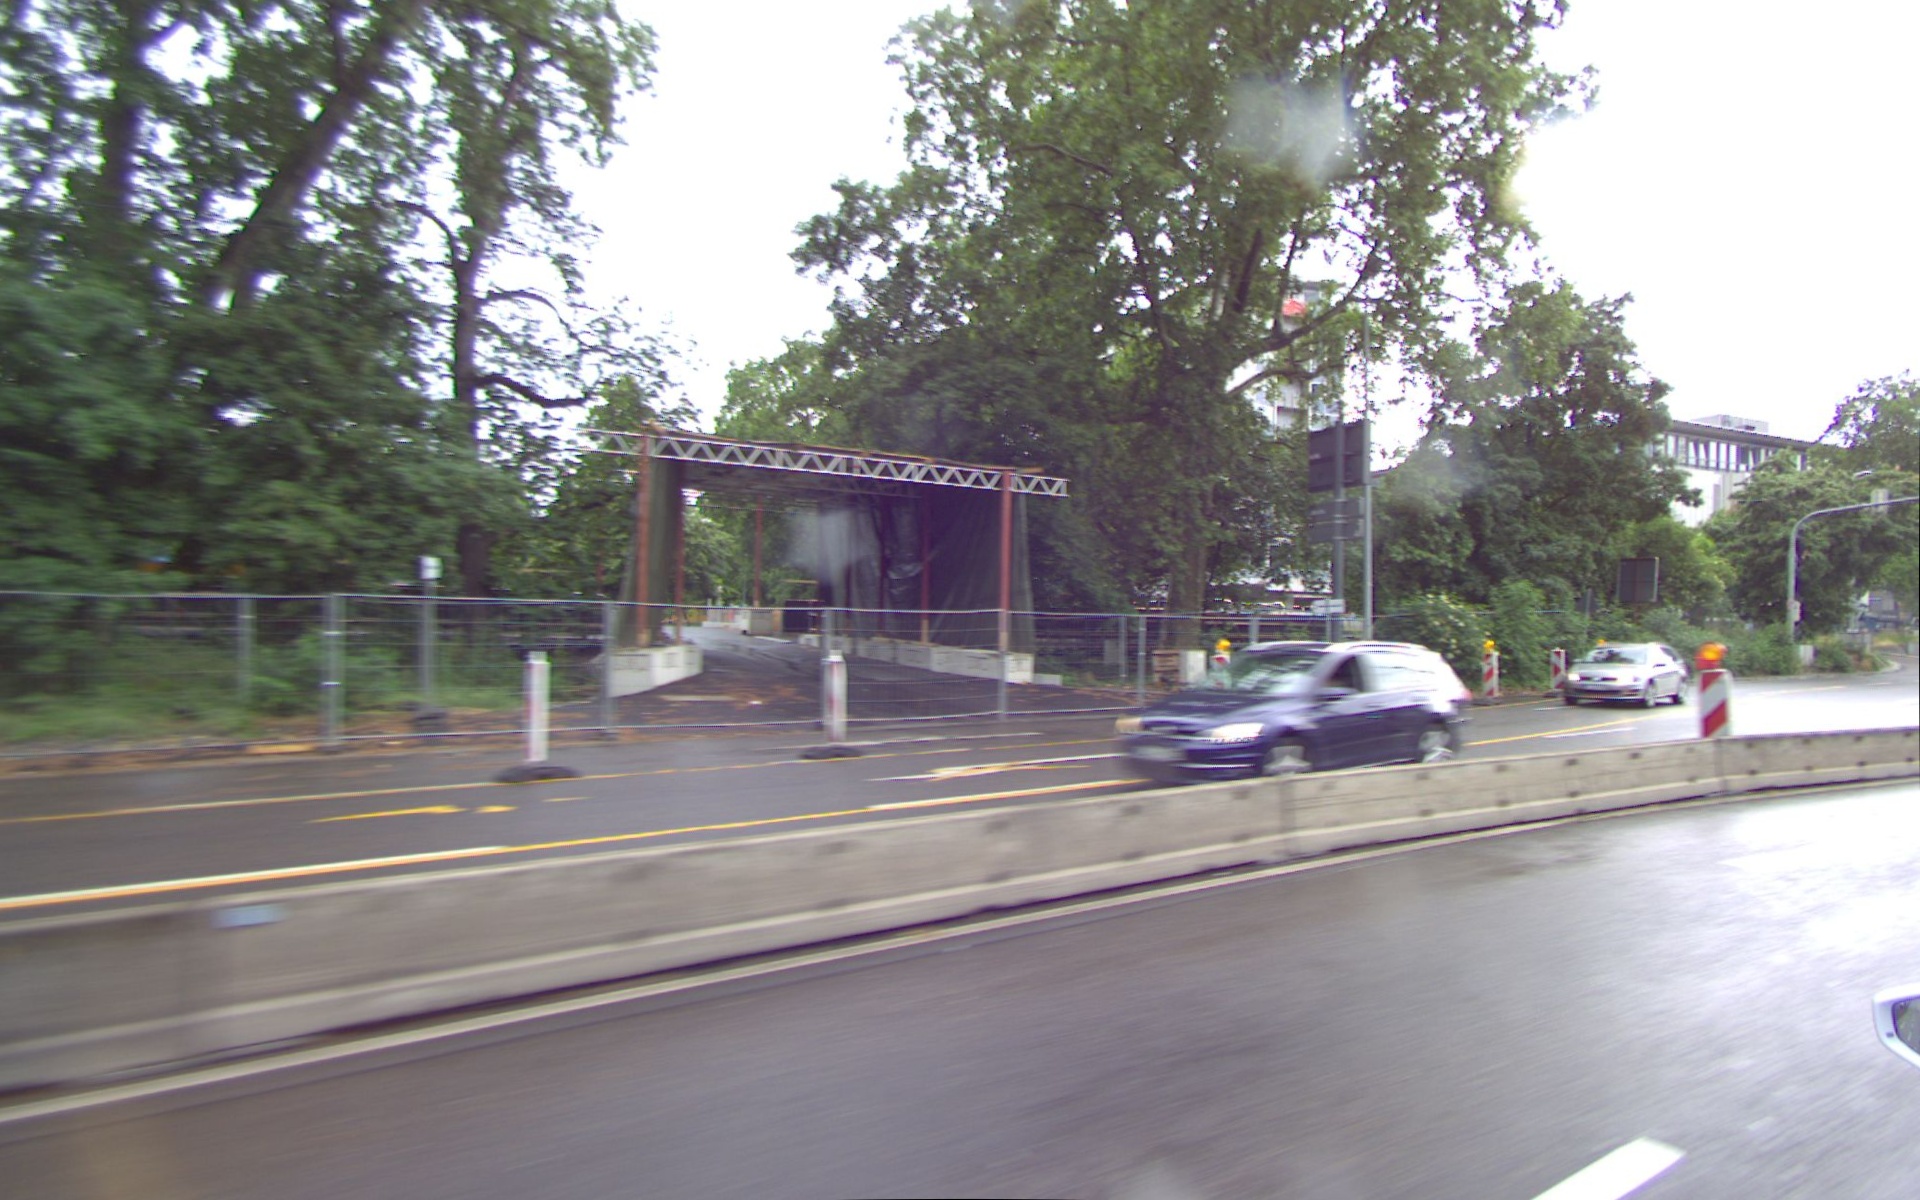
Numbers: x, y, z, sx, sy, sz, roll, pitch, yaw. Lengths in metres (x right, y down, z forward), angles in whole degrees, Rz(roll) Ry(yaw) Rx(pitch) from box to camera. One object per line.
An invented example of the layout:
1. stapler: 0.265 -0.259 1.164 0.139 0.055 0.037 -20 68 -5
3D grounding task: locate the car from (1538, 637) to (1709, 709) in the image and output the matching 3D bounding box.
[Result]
1. car: 15.988 1.773 24.164 4.402 1.561 1.981 5 -5 -35

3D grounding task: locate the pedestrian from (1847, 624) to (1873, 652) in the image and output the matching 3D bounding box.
1. pedestrian: 52.170 2.225 58.213 1.095 1.577 0.588 3 -4 -13

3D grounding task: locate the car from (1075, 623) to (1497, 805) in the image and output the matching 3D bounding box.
1. car: 3.600 1.168 10.758 4.535 1.561 1.981 5 -5 -35
